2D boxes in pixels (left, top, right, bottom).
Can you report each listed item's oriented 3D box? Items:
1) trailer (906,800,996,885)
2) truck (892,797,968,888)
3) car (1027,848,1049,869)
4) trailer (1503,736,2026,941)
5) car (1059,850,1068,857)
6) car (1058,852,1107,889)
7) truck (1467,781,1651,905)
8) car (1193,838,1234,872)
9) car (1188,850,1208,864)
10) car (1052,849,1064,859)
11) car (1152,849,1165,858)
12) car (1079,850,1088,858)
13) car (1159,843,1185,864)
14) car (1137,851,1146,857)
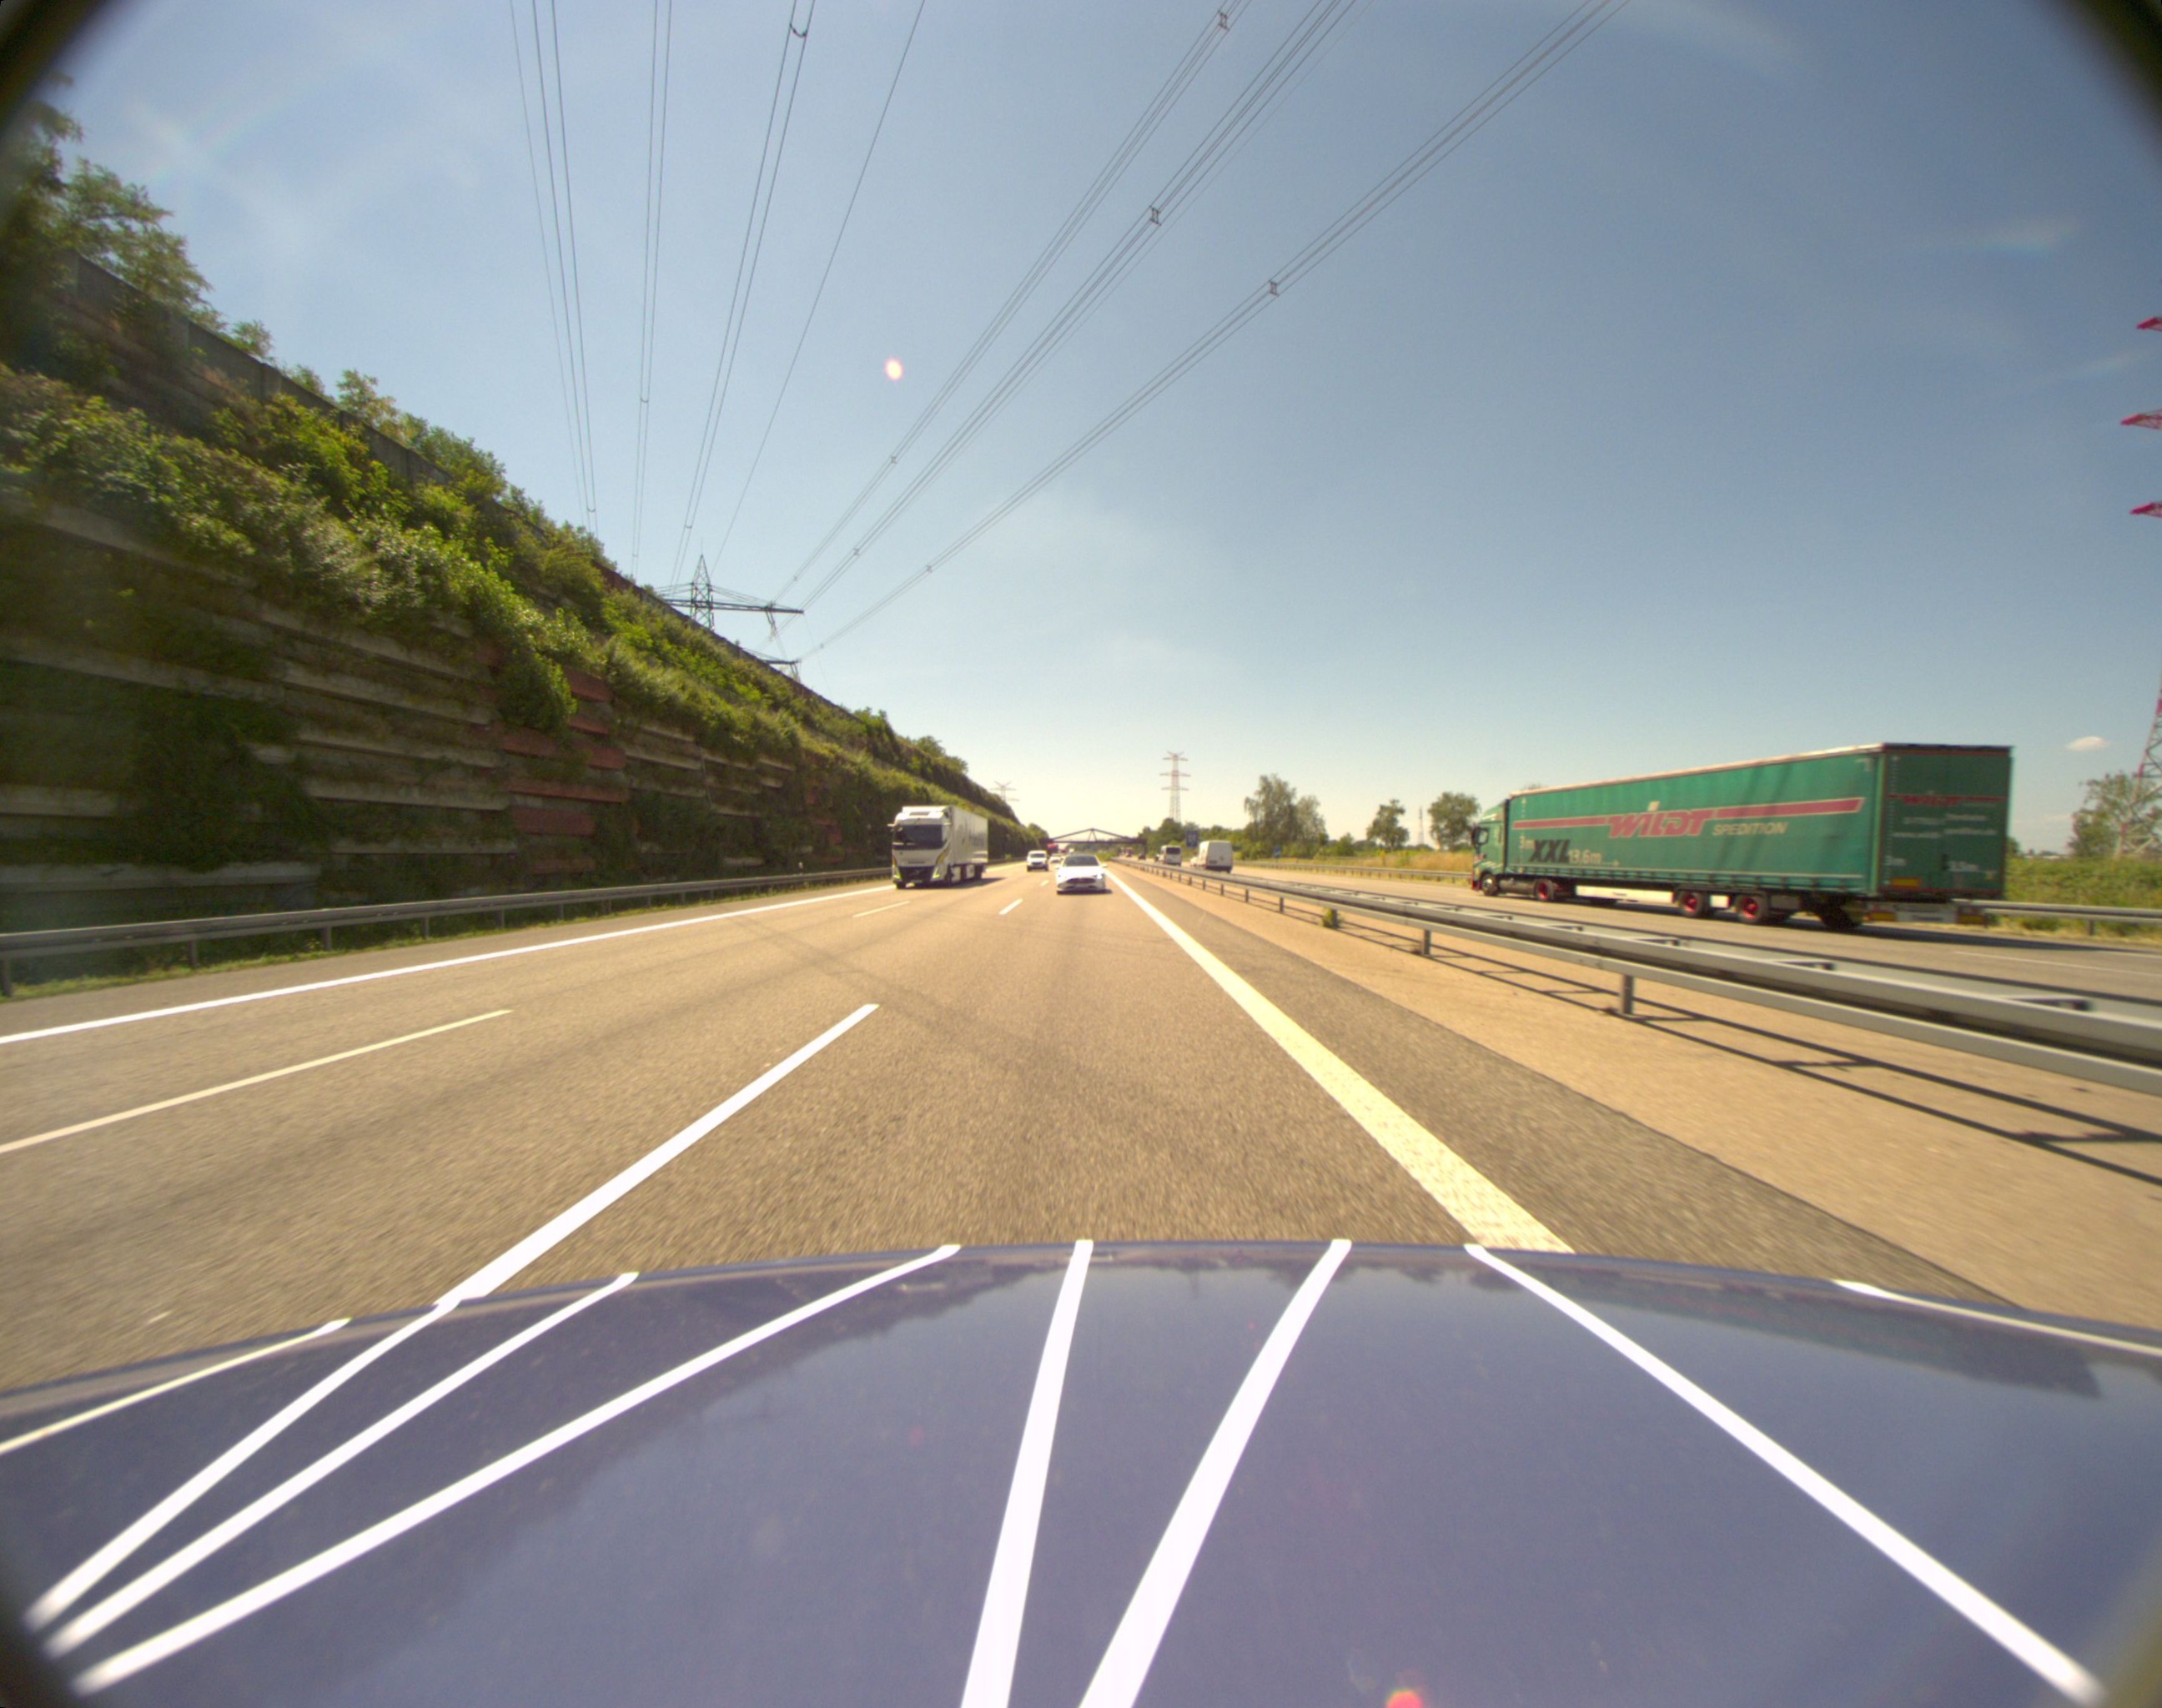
[{"bbox_3d":[-7.405,-0.612,46.227,2.521,4.187,17.025,-1,0,0],"label":"trailer"},{"bbox_3d":[-7.413,-0.564,38.103,2.514,4.196,6.255,0,1,1],"label":"truck"},{"bbox_3d":[-3.840,0.407,67.910,1.784,1.783,3.999,-1,0,-1],"label":"car"},{"bbox_3d":[17.444,-0.355,22.071,2.676,4.061,13.914,0,0,0],"label":"trailer"},{"bbox_3d":[-3.522,-0.065,155.940,1.784,1.475,3.999,-1,0,-1],"label":"car"},{"bbox_3d":[0.043,0.682,33.201,1.999,1.474,4.107,-1,0,-1],"label":"car"},{"bbox_3d":[17.496,-0.377,28.451,2.706,4.110,6.580,0,1,0],"label":"truck"},{"bbox_3d":[10.166,0.065,58.718,2.053,2.424,6.068,1,0,0],"label":"car"},{"bbox_3d":[14.375,0.348,93.727,1.712,1.515,4.513,2,0,0],"label":"car"},{"bbox_3d":[-3.554,0.036,117.694,1.784,1.475,3.999,-1,0,-1],"label":"car"},{"bbox_3d":[14.168,-0.091,138.553,1.845,1.620,4.413,2,0,0],"label":"car"},{"bbox_3d":[0.443,-0.070,149.175,1.784,1.475,3.999,0,0,-1],"label":"car"},{"bbox_3d":[10.053,-0.080,84.511,2.114,2.284,6.706,0,0,0],"label":"car"},{"bbox_3d":[14.045,0.015,176.514,1.622,1.451,4.283,3,0,-1],"label":"car"}]
